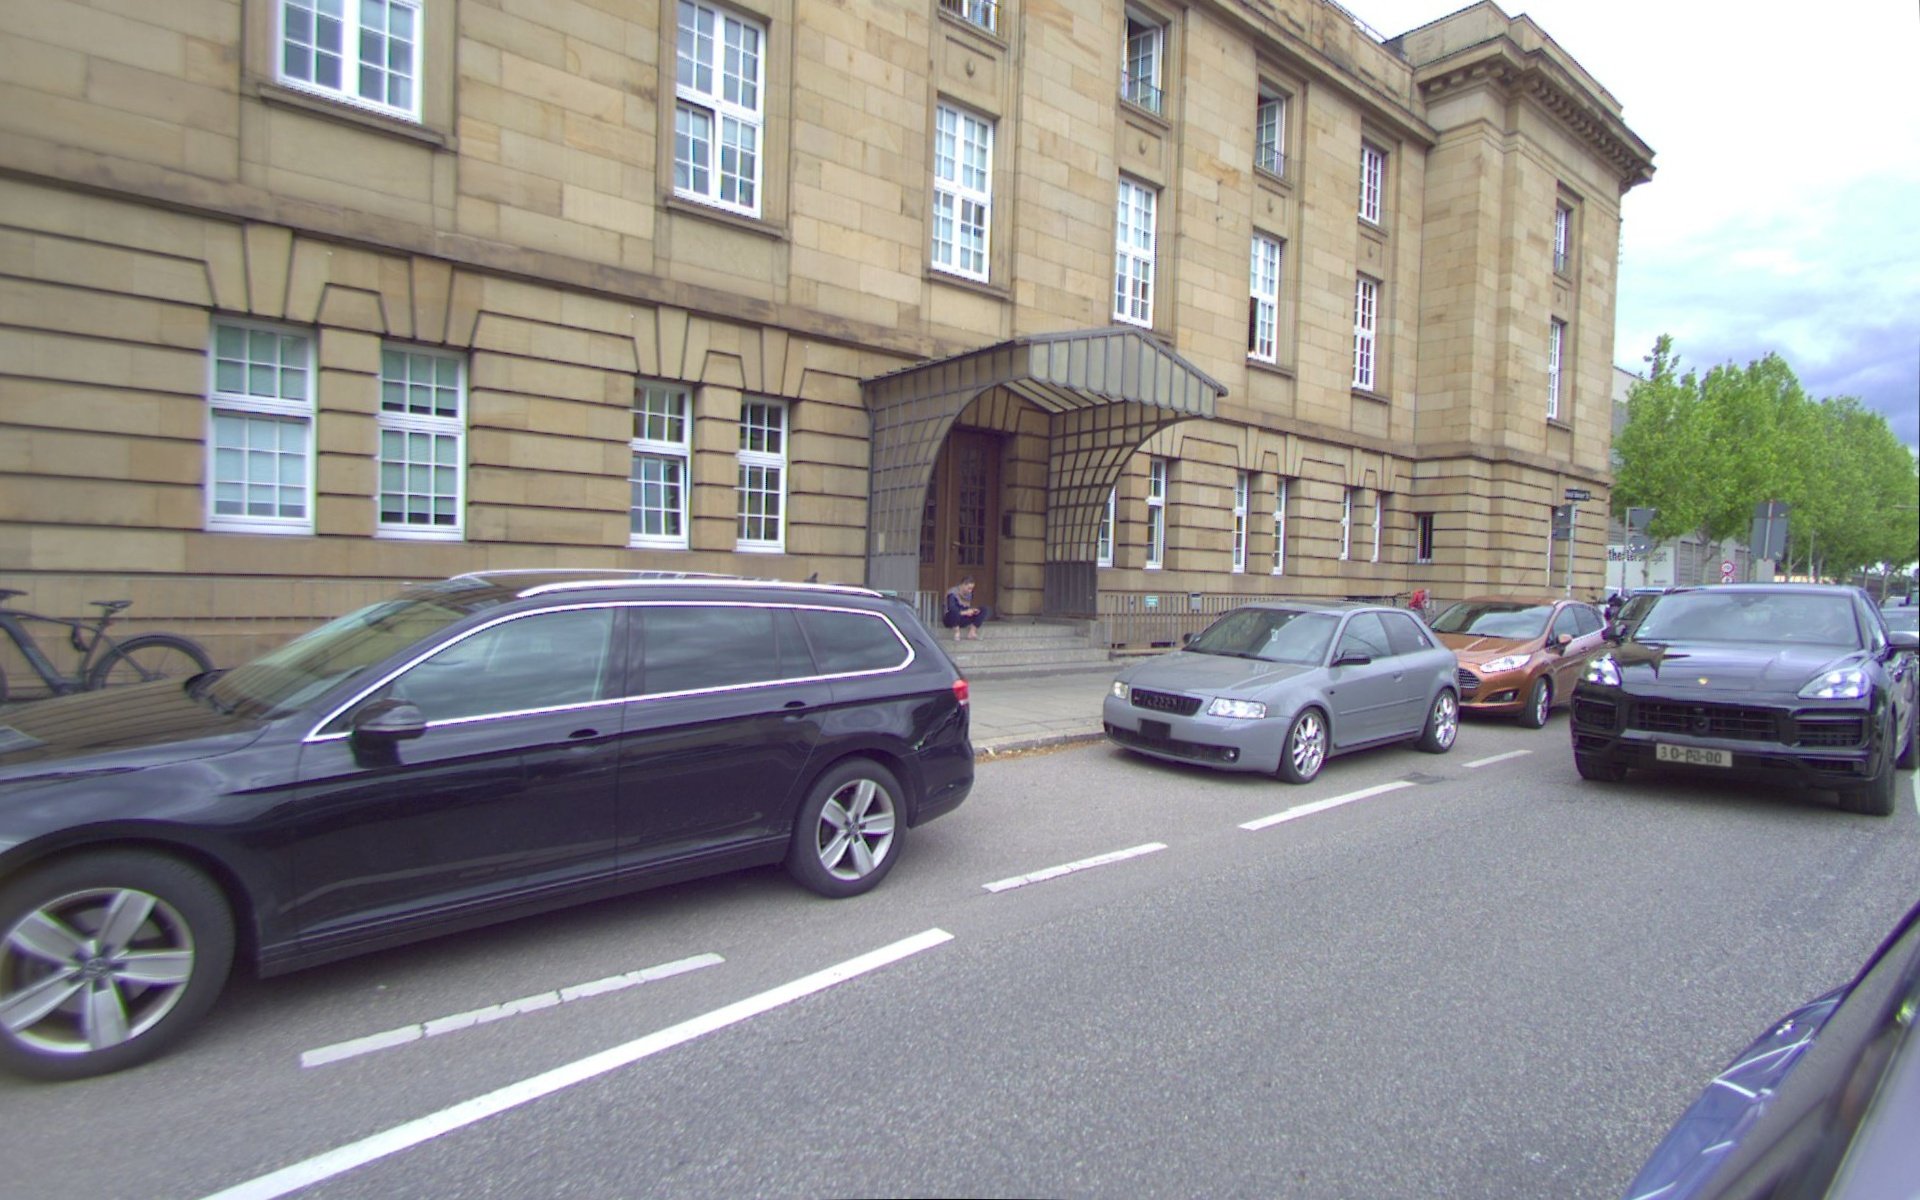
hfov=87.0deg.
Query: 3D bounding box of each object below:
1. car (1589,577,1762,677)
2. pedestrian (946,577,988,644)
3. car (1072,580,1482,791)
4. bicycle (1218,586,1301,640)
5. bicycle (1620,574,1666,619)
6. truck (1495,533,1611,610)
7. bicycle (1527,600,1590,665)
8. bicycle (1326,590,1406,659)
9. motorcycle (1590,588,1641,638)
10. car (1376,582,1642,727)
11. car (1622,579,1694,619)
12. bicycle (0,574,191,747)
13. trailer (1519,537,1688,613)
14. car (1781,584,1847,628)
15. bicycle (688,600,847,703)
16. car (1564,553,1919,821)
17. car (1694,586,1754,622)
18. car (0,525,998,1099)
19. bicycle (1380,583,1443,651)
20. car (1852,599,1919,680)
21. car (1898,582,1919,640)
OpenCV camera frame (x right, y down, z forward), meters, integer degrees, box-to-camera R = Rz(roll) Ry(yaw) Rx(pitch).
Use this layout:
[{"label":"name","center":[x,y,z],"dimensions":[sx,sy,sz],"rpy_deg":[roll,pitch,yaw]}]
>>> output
[{"label":"car","center":[12.850,0.430,18.115],"dimensions":[3.641,1.571,1.550],"rpy_deg":[0,2,-39]},{"label":"pedestrian","center":[0.091,0.135,13.617],"dimensions":[0.366,0.884,0.430],"rpy_deg":[0,0,-39]},{"label":"car","center":[2.985,0.587,9.135],"dimensions":[3.927,1.443,1.712],"rpy_deg":[0,3,-41]},{"label":"bicycle","center":[5.000,0.204,16.832],"dimensions":[1.844,0.855,0.307],"rpy_deg":[-1,0,-39]},{"label":"bicycle","center":[19.621,-0.103,29.061],"dimensions":[1.930,1.239,0.610],"rpy_deg":[0,4,-43]},{"label":"truck","center":[33.473,-1.559,57.095],"dimensions":[6.446,4.135,3.144],"rpy_deg":[0,1,-33]},{"label":"bicycle","center":[11.235,0.585,18.979],"dimensions":[1.799,1.171,0.460],"rpy_deg":[0,1,-42]},{"label":"bicycle","center":[7.691,0.438,19.131],"dimensions":[1.882,1.232,0.556],"rpy_deg":[0,1,-40]},{"label":"motorcycle","center":[17.103,0.327,26.391],"dimensions":[1.887,1.257,0.456],"rpy_deg":[0,2,-37]},{"label":"car","center":[6.874,0.557,12.534],"dimensions":[3.791,1.473,1.619],"rpy_deg":[0,3,-41]},{"label":"car","center":[33.273,-0.033,48.192],"dimensions":[4.543,1.806,1.807],"rpy_deg":[0,-1,-43]},{"label":"bicycle","center":[-6.478,0.415,7.272],"dimensions":[1.510,1.197,0.276],"rpy_deg":[0,0,-38]},{"label":"trailer","center":[38.621,-1.453,60.385],"dimensions":[13.702,4.153,3.159],"rpy_deg":[-1,0,-33]},{"label":"car","center":[36.257,0.237,42.947],"dimensions":[1.805,1.760,4.413],"rpy_deg":[1,0,45]},{"label":"bicycle","center":[-2.050,0.525,10.983],"dimensions":[1.826,1.042,0.222],"rpy_deg":[0,0,-41]},{"label":"car","center":[6.798,0.596,8.449],"dimensions":[4.128,1.679,1.905],"rpy_deg":[2,-2,-42]},{"label":"car","center":[34.664,0.163,45.913],"dimensions":[3.444,1.549,1.582],"rpy_deg":[0,1,-43]},{"label":"car","center":[-2.003,0.526,4.493],"dimensions":[4.252,1.503,1.792],"rpy_deg":[0,5,-43]},{"label":"bicycle","center":[9.001,0.321,20.156],"dimensions":[1.759,1.304,0.413],"rpy_deg":[0,1,-40]},{"label":"car","center":[18.132,0.690,18.922],"dimensions":[3.935,1.393,1.931],"rpy_deg":[0,1,-45]},{"label":"car","center":[33.948,0.384,34.791],"dimensions":[4.321,1.950,1.952],"rpy_deg":[0,1,-40]}]
